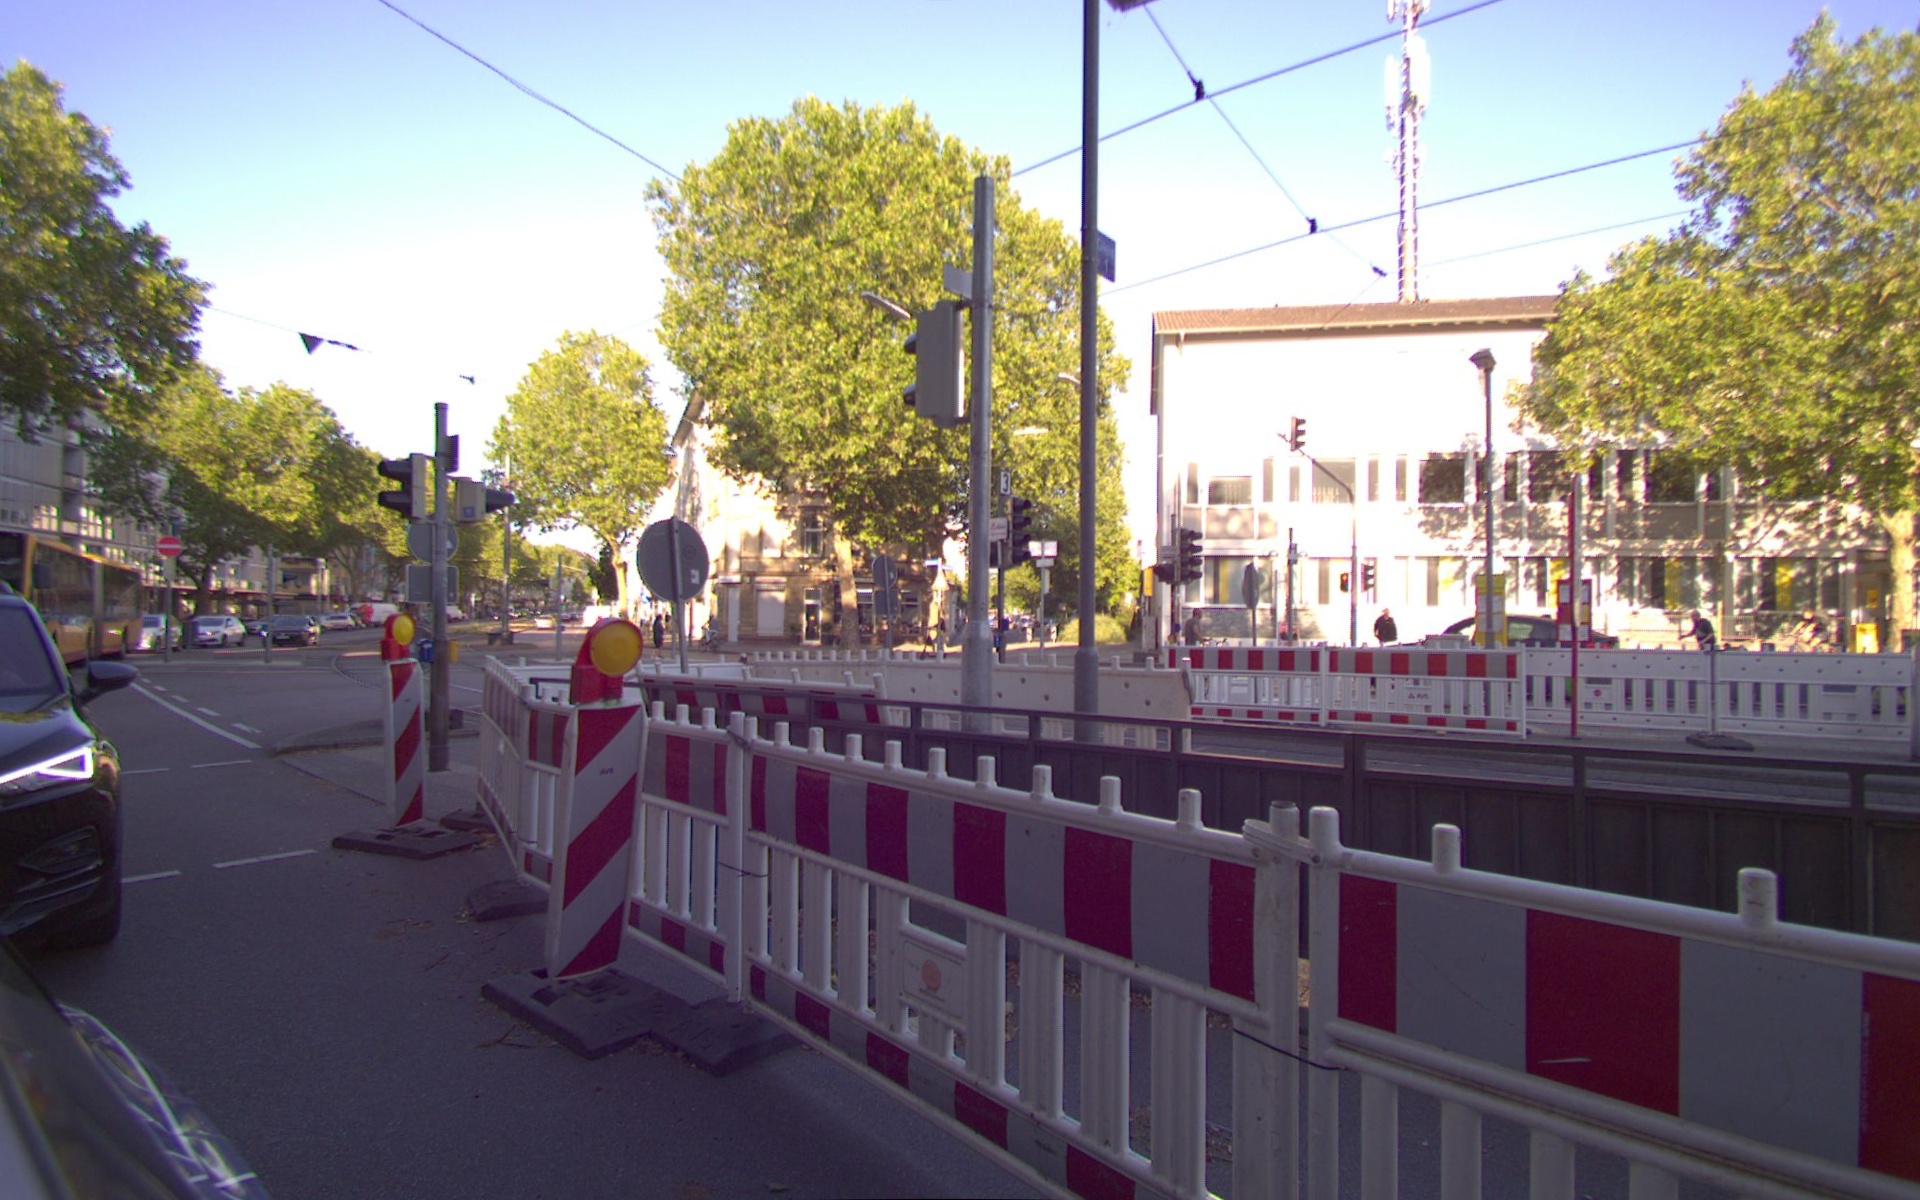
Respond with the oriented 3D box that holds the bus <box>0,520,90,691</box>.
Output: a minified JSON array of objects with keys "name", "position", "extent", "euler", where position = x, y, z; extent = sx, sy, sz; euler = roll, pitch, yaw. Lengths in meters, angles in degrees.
[{"name":"bus","position":[-20.812,0.151,21.618],"extent":[2.678,3.130,8.641],"euler":[1,-2,-36]}]

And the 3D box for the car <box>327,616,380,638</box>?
[{"name":"car","position":[-57.104,2.508,95.343],"extent":[3.938,2.029,2.002],"euler":[1,-2,-42]}]

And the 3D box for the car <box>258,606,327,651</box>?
[{"name":"car","position":[-31.436,1.325,47.775],"extent":[1.965,2.029,4.013],"euler":[1,-1,-22]}]

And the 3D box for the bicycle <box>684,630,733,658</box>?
[{"name":"bicycle","position":[-11.349,1.979,45.658],"extent":[2.463,1.202,0.841],"euler":[-1,-2,40]}]

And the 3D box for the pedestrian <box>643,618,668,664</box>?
[{"name":"pedestrian","position":[-10.416,1.400,34.611],"extent":[0.594,1.545,0.746],"euler":[1,-2,-38]}]

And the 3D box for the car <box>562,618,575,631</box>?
[{"name":"car","position":[-59.094,3.706,152.787],"extent":[1.661,1.866,4.013],"euler":[1,-1,-20]}]

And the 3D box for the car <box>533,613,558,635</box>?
[{"name":"car","position":[-38.665,2.208,94.427],"extent":[1.965,2.029,4.013],"euler":[1,-1,-20]}]

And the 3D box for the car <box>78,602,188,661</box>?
[{"name":"car","position":[-30.557,1.149,37.544],"extent":[1.965,2.029,4.111],"euler":[1,-1,-21]}]

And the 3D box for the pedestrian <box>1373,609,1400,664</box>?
[{"name":"pedestrian","position":[12.365,1.051,29.337],"extent":[0.649,1.564,0.563],"euler":[-1,-2,28]}]

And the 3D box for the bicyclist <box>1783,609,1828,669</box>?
[{"name":"bicyclist","position":[24.917,1.136,29.829],"extent":[0.757,1.741,0.671],"euler":[0,-2,13]}]

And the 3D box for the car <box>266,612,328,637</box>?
[{"name":"car","position":[-53.869,1.999,82.302],"extent":[3.938,2.029,2.002],"euler":[1,-2,-42]}]

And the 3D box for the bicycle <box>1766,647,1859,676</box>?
[{"name":"bicycle","position":[25.057,1.801,29.782],"extent":[1.971,0.788,0.678],"euler":[0,-1,13]}]

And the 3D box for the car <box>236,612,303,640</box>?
[{"name":"car","position":[-50.693,1.901,74.404],"extent":[3.932,2.029,2.006],"euler":[1,-2,-32]}]

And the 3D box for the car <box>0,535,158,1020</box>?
[{"name":"car","position":[-5.219,0.641,4.548],"extent":[3.998,1.719,1.818],"euler":[-1,-2,41]}]

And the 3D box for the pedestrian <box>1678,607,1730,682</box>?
[{"name":"pedestrian","position":[18.605,1.108,25.338],"extent":[0.923,1.847,0.693],"euler":[-1,-2,28]}]

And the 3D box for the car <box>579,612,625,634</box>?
[{"name":"car","position":[-34.226,2.202,96.841],"extent":[1.990,2.029,3.963],"euler":[0,-2,27]}]

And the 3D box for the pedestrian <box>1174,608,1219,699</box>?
[{"name":"pedestrian","position":[4.662,1.037,19.976],"extent":[0.545,1.760,0.693],"euler":[1,-2,-24]}]

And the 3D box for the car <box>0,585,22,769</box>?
[{"name":"car","position":[-10.738,0.695,9.812],"extent":[4.073,1.656,1.973],"euler":[-1,-2,41]}]

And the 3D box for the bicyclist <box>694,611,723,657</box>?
[{"name":"bicyclist","position":[-11.335,1.538,45.686],"extent":[0.983,2.029,0.844],"euler":[-1,-2,40]}]

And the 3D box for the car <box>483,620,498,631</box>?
[{"name":"car","position":[-76.065,4.140,163.983],"extent":[1.809,1.715,4.143],"euler":[1,-2,-19]}]

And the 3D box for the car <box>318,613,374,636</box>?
[{"name":"car","position":[-54.758,2.163,90.326],"extent":[3.938,2.029,2.002],"euler":[1,-2,-42]}]

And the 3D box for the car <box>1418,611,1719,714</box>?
[{"name":"car","position":[11.112,1.059,18.638],"extent":[4.552,1.674,1.974],"euler":[-1,-2,38]}]

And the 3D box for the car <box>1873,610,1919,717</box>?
[{"name":"car","position":[16.868,0.990,15.582],"extent":[3.994,1.674,1.974],"euler":[-1,-2,38]}]

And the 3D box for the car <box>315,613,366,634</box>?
[{"name":"car","position":[-60.086,2.271,98.199],"extent":[3.938,2.029,2.002],"euler":[1,-2,-42]}]

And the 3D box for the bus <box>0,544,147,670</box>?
[{"name":"bus","position":[-25.746,0.254,28.945],"extent":[2.676,3.130,8.622],"euler":[1,-2,-31]}]

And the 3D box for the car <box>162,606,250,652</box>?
[{"name":"car","position":[-34.625,1.339,46.591],"extent":[1.966,2.029,4.012],"euler":[1,-1,-17]}]
